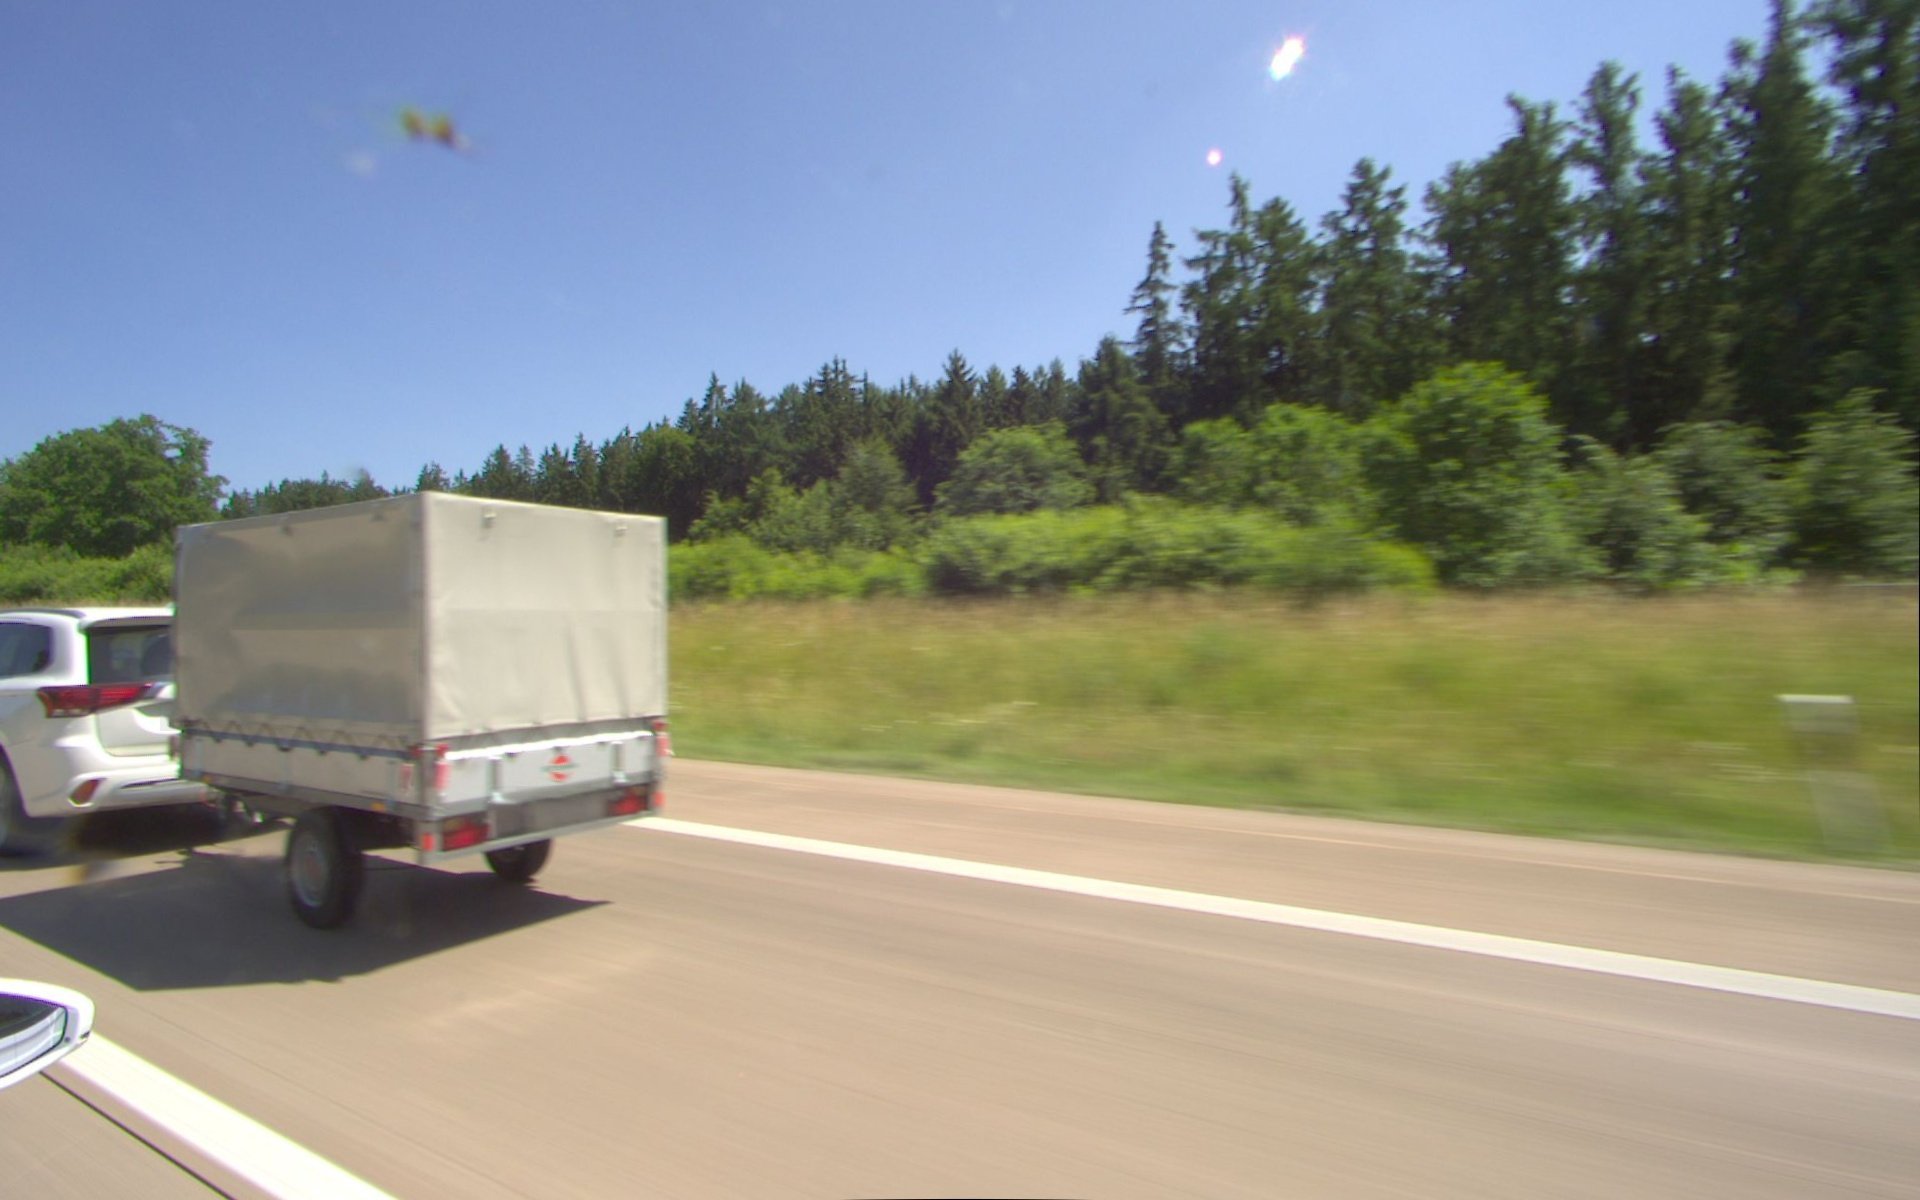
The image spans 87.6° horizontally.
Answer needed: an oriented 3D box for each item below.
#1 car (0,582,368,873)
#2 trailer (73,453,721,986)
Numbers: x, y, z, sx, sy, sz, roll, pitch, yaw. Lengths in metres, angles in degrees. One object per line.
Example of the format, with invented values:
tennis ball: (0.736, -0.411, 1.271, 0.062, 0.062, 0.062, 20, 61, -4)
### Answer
car: (-7.165, 0.831, 8.241, 5.113, 1.750, 1.887, -1, -1, 33)
trailer: (-3.423, 0.542, 5.885, 3.959, 2.192, 1.654, -1, -1, 32)
